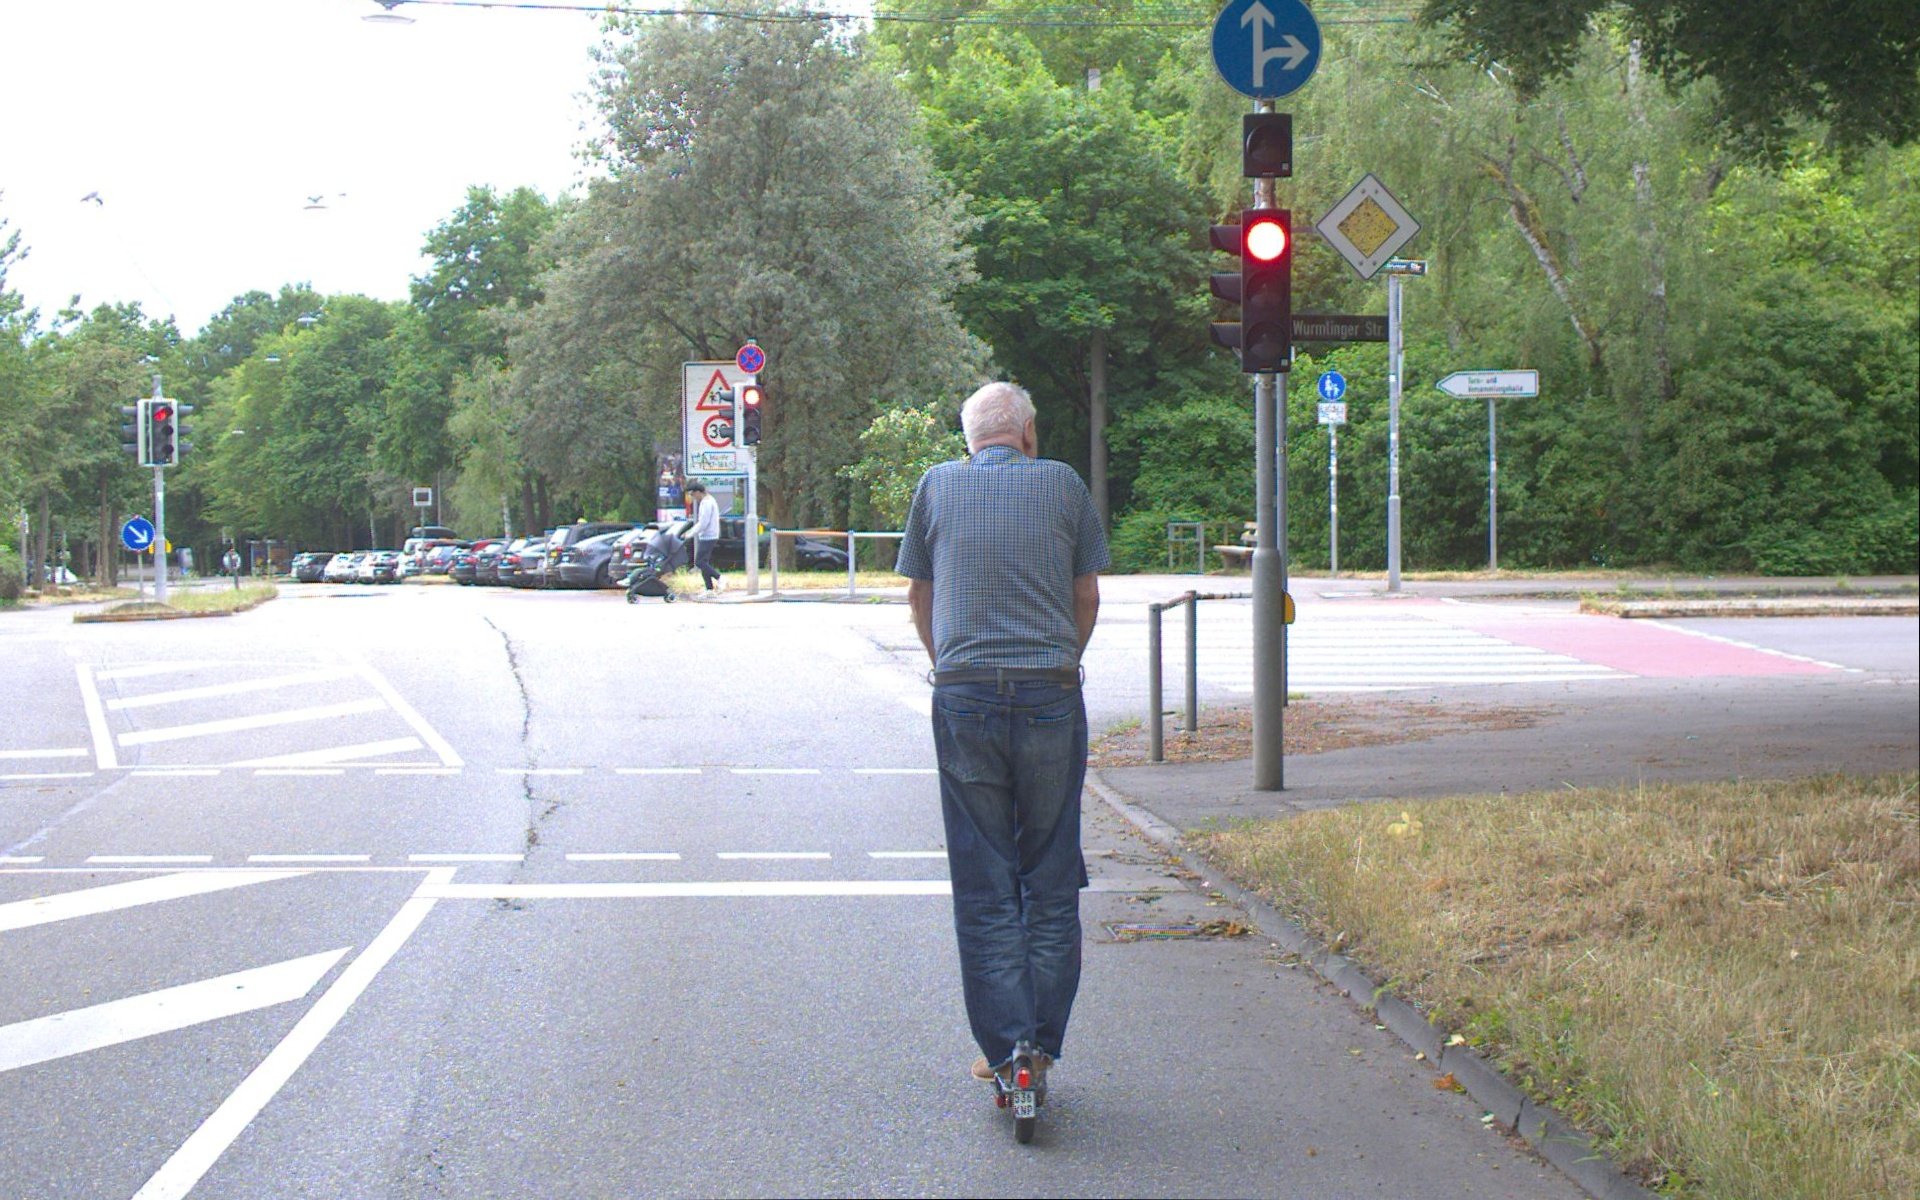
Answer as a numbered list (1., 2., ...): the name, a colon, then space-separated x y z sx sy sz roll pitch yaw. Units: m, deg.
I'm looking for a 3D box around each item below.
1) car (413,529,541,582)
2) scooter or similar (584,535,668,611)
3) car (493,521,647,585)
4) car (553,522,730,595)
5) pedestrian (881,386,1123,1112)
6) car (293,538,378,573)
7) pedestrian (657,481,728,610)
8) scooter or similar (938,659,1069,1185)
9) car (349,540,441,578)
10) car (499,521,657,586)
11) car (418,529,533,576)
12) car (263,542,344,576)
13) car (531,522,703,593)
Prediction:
1. car: -16.132 -1.483 114.764 3.841 1.605 1.728 -3 2 -24
2. scooter or similar: -4.859 -0.397 49.980 1.107 1.077 0.578 -2 1 -18
3. car: -10.770 -1.305 94.991 3.841 1.605 1.728 -3 2 -24
4. car: -7.663 -1.014 82.743 3.841 1.605 1.728 -3 2 -25
5. pedestrian: 0.107 0.369 8.809 0.572 1.807 0.420 -1 1 0
6. car: -31.135 -2.227 171.424 3.841 1.605 1.728 -3 2 -24
7. pedestrian: -3.910 -0.795 50.260 0.883 1.856 0.574 -2 1 -17
8. scooter or similar: 0.119 0.762 8.607 0.282 1.174 1.177 -1 1 2
9. car: -26.242 -1.921 159.741 3.841 1.605 1.728 -3 2 -24
10. car: -10.288 -1.263 92.587 3.841 1.605 1.728 -3 2 -24
11. car: -18.006 -1.775 127.700 3.841 1.605 1.728 -3 2 -24
12. car: -34.592 -2.162 181.207 3.841 1.605 1.728 -3 2 -24
13. car: -8.510 -1.062 85.270 3.841 1.605 1.728 -3 2 -24
